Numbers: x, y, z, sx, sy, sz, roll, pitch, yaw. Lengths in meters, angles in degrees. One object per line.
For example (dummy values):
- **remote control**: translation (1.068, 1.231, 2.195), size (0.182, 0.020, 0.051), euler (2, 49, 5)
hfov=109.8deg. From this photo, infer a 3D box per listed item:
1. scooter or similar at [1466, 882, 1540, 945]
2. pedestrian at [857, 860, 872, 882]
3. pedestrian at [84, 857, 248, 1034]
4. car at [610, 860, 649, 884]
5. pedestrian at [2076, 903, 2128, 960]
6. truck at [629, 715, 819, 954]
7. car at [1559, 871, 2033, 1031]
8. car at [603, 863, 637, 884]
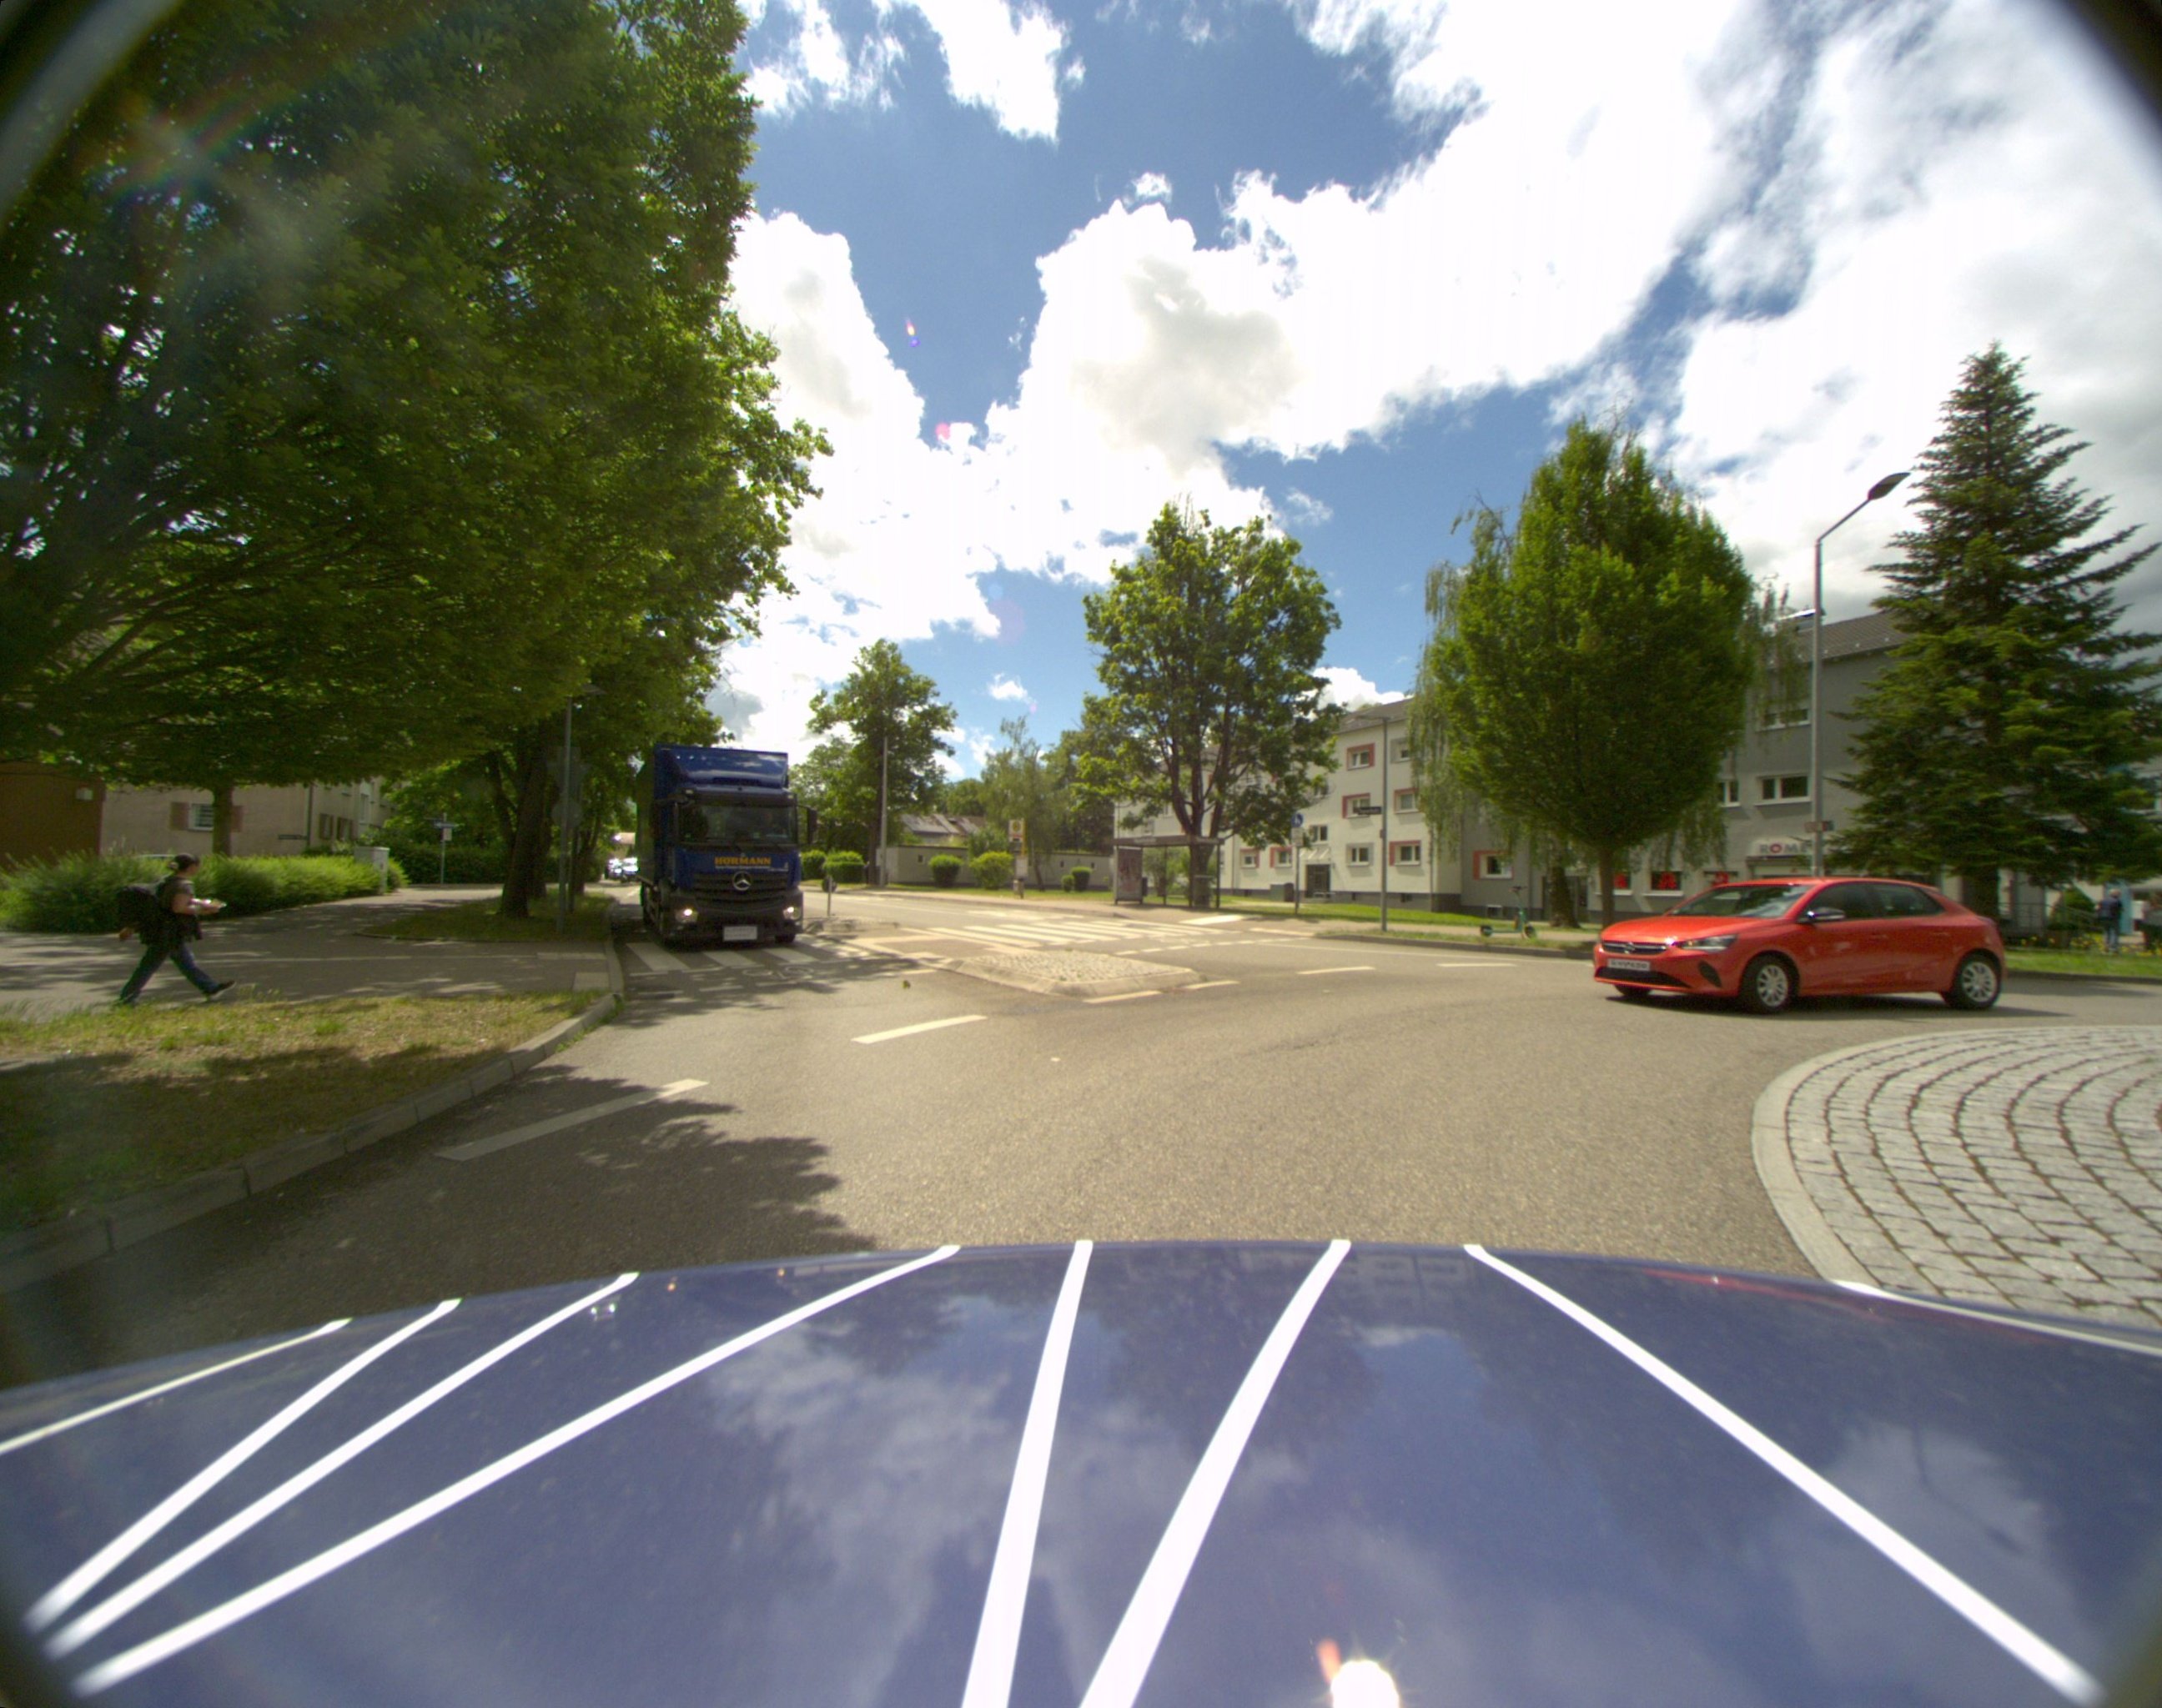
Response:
- **scooter or similar**: translation (9.636, 1.343, 17.383), size (1.385, 1.335, 0.487), euler (2, 0, 22)
- **pedestrian**: translation (-15.434, 1.203, 54.176), size (0.905, 1.572, 0.659), euler (2, -1, -26)
- **pedestrian**: translation (-8.824, 0.839, 7.371), size (0.722, 1.570, 0.839), euler (1, 2, -25)
- **car**: translation (-31.649, 1.307, 53.256), size (2.004, 1.543, 3.990), euler (3, -4, -35)
- **pedestrian**: translation (28.727, 2.167, 21.385), size (0.692, 1.520, 0.742), euler (2, -1, -25)
- **truck**: translation (-8.867, -0.205, 17.979), size (2.795, 4.127, 9.774), euler (2, -2, -32)
- **car**: translation (7.919, 1.057, 8.639), size (4.000, 1.547, 1.767), euler (2, -3, -7)
- **car**: translation (-36.968, 1.620, 60.900), size (2.004, 1.543, 3.990), euler (3, -4, -35)
